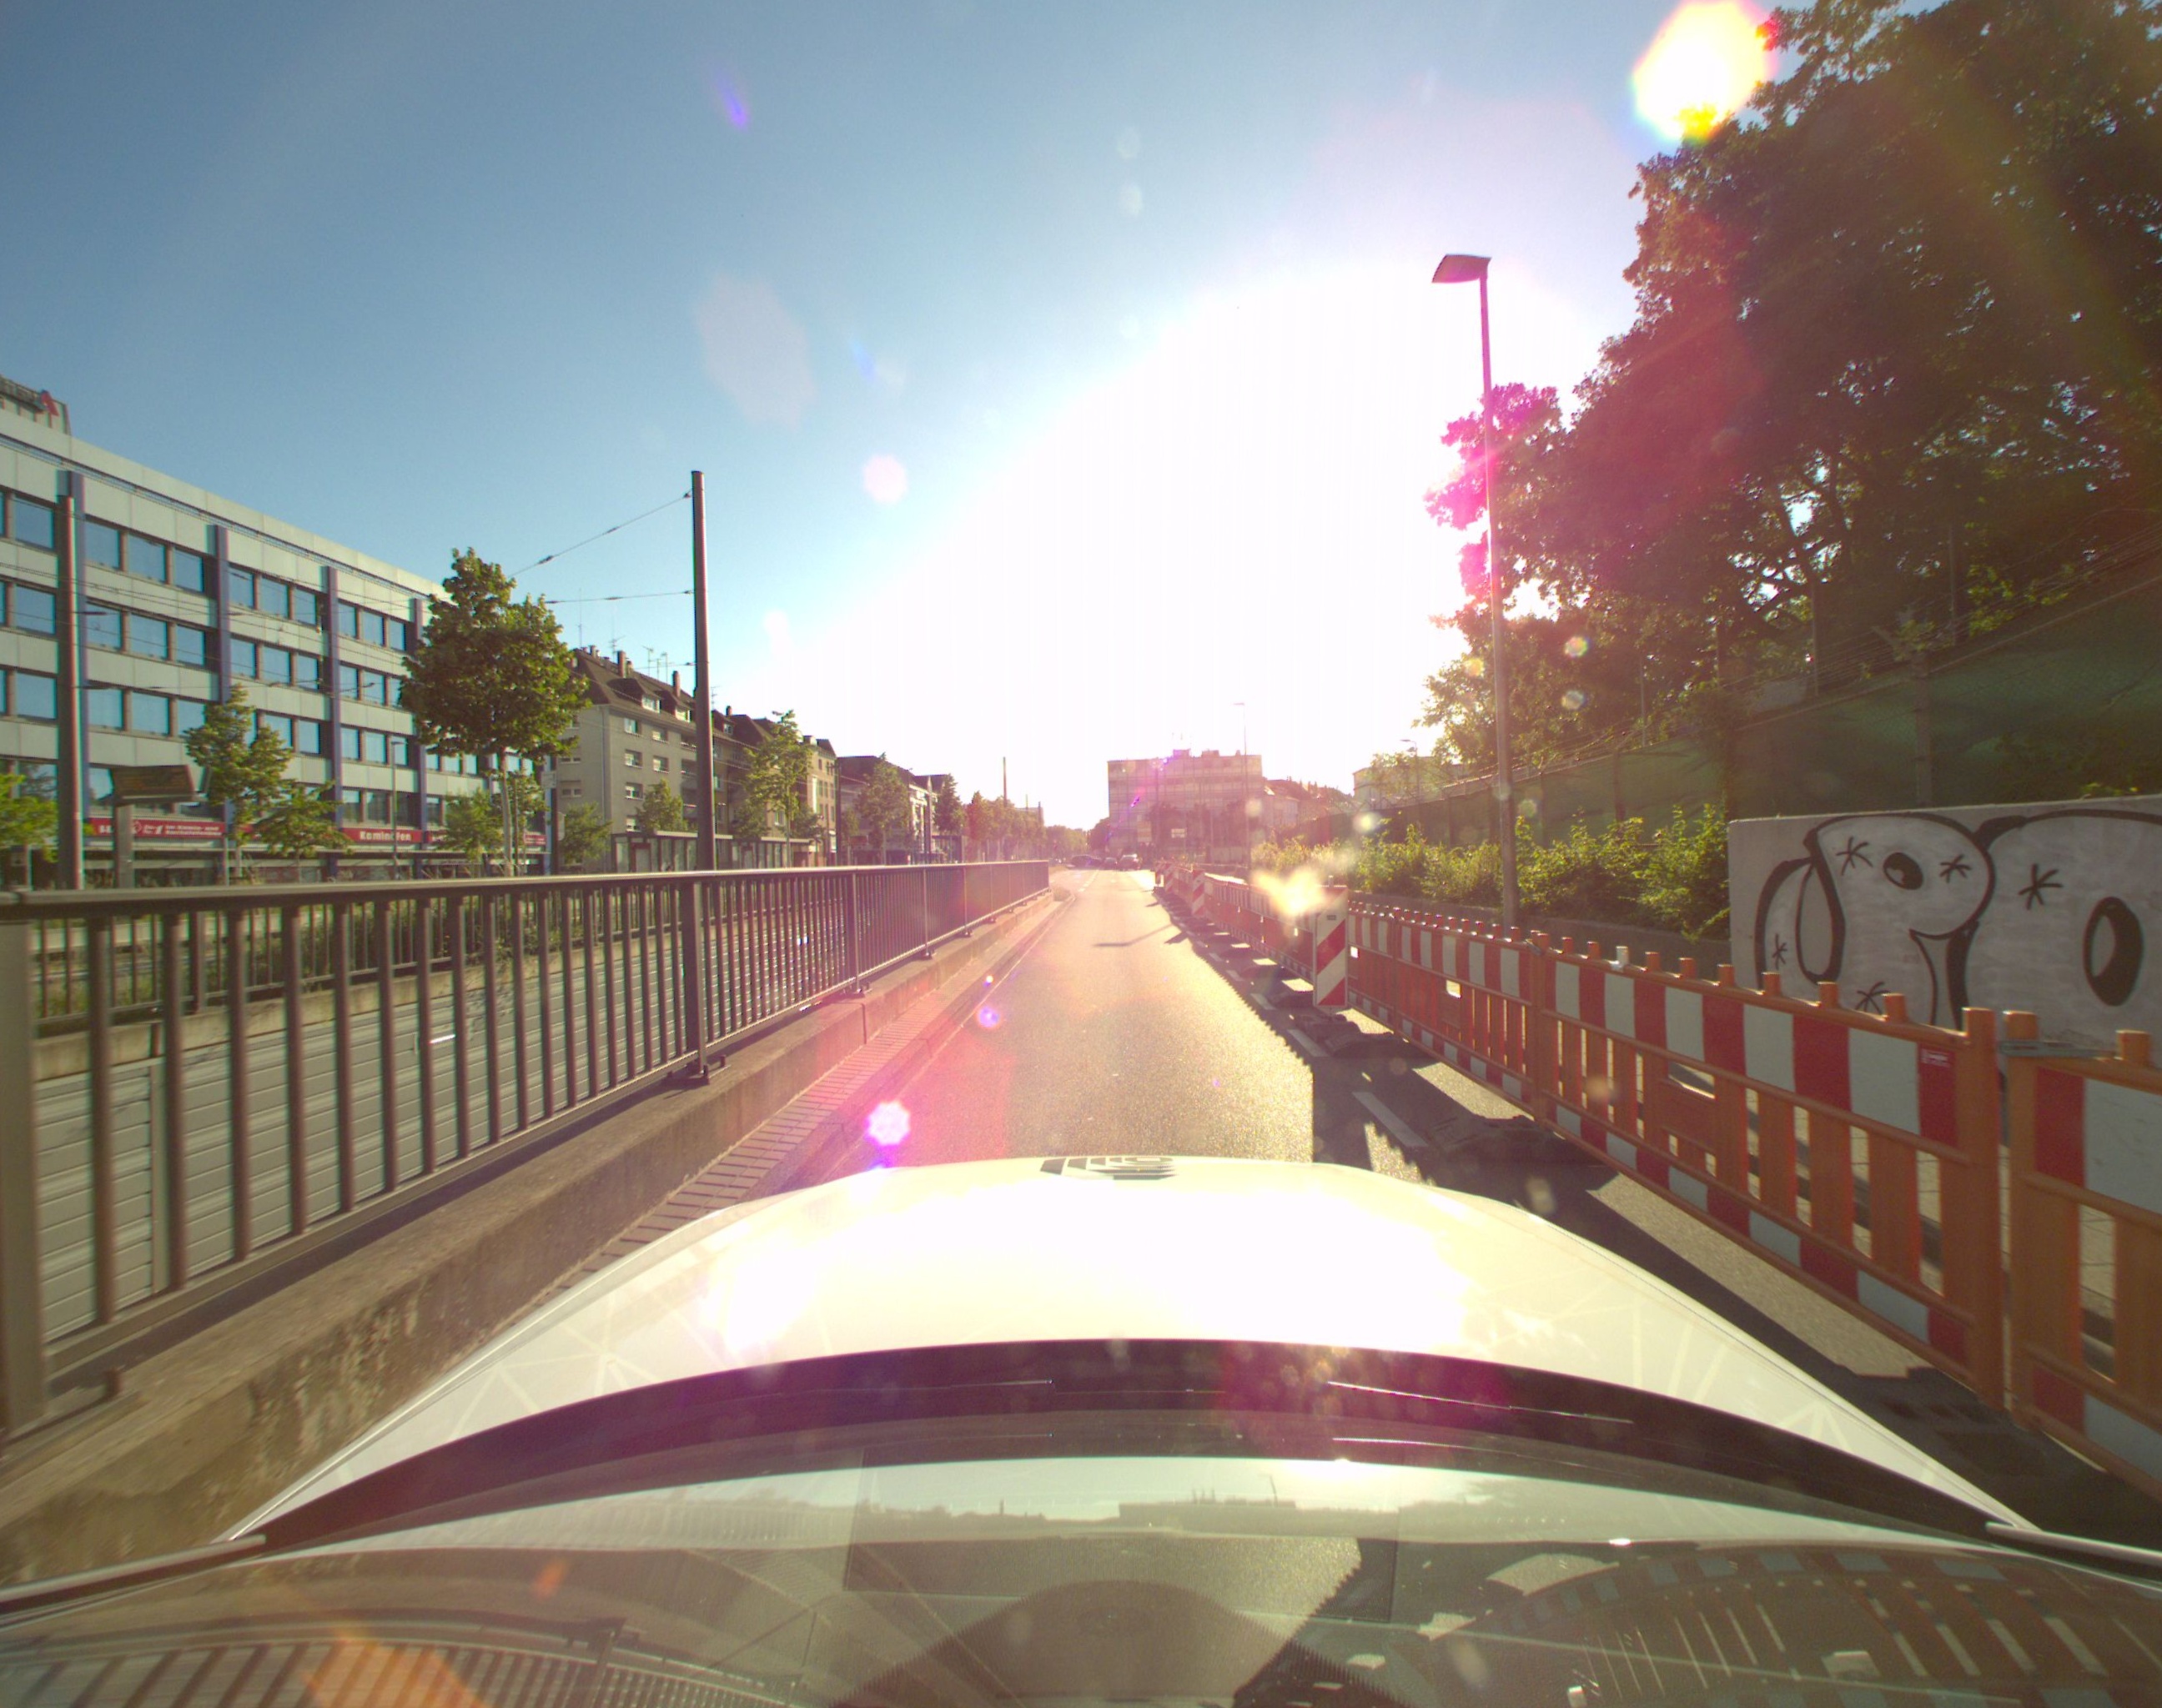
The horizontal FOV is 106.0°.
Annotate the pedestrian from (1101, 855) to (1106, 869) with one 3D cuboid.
[{"bbox_3d":[3.109,1.136,113.575,0.610,2.014,0.511,-1,-1,5],"label":"pedestrian"}]

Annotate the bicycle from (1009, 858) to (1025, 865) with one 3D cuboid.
[{"bbox_3d":[-9.328,1.085,119.289,2.216,1.026,0.683,-1,-1,4],"label":"bicycle"}]

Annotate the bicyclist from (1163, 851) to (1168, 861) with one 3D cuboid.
[{"bbox_3d":[14.623,0.344,140.709,0.663,1.712,0.537,-2,-1,-8],"label":"bicyclist"}]

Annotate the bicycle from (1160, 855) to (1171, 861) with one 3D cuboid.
[{"bbox_3d":[14.627,0.667,140.704,1.775,1.072,0.533,-2,-1,-9],"label":"bicycle"}]

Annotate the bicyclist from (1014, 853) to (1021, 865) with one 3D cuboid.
[{"bbox_3d":[-9.305,0.769,119.293,0.954,1.661,0.692,-1,-1,4],"label":"bicyclist"}]

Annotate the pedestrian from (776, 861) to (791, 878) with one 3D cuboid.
[{"bbox_3d":[-18.710,0.954,51.265,0.625,1.047,0.794,-2,0,1],"label":"pedestrian"}]

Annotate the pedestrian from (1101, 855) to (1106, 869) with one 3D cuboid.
[{"bbox_3d":[3.066,1.133,113.009,0.610,2.014,0.511,-1,-1,5],"label":"pedestrian"}]

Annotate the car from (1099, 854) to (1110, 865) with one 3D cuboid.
[{"bbox_3d":[5.814,1.350,203.004,2.477,2.392,5.935,-3,-1,1],"label":"car"}]

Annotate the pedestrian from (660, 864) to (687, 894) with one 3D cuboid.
[{"bbox_3d":[-19.443,1.189,38.854,0.835,1.410,0.804,-2,0,1],"label":"pedestrian"}]

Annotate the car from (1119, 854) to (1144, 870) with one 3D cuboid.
[{"bbox_3d":[5.663,0.889,91.664,1.978,1.693,4.017,0,1,16],"label":"car"}]

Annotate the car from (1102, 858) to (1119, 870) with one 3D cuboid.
[{"bbox_3d":[3.548,1.230,98.673,1.738,1.426,3.998,-1,0,-1],"label":"car"}]

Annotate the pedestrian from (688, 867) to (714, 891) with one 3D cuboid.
[{"bbox_3d":[-19.325,1.271,41.424,0.930,1.197,0.764,-2,0,1],"label":"pedestrian"}]

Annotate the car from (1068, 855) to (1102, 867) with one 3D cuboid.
[{"bbox_3d":[0.624,1.077,121.250,4.784,1.750,2.007,-1,0,13],"label":"car"}]
